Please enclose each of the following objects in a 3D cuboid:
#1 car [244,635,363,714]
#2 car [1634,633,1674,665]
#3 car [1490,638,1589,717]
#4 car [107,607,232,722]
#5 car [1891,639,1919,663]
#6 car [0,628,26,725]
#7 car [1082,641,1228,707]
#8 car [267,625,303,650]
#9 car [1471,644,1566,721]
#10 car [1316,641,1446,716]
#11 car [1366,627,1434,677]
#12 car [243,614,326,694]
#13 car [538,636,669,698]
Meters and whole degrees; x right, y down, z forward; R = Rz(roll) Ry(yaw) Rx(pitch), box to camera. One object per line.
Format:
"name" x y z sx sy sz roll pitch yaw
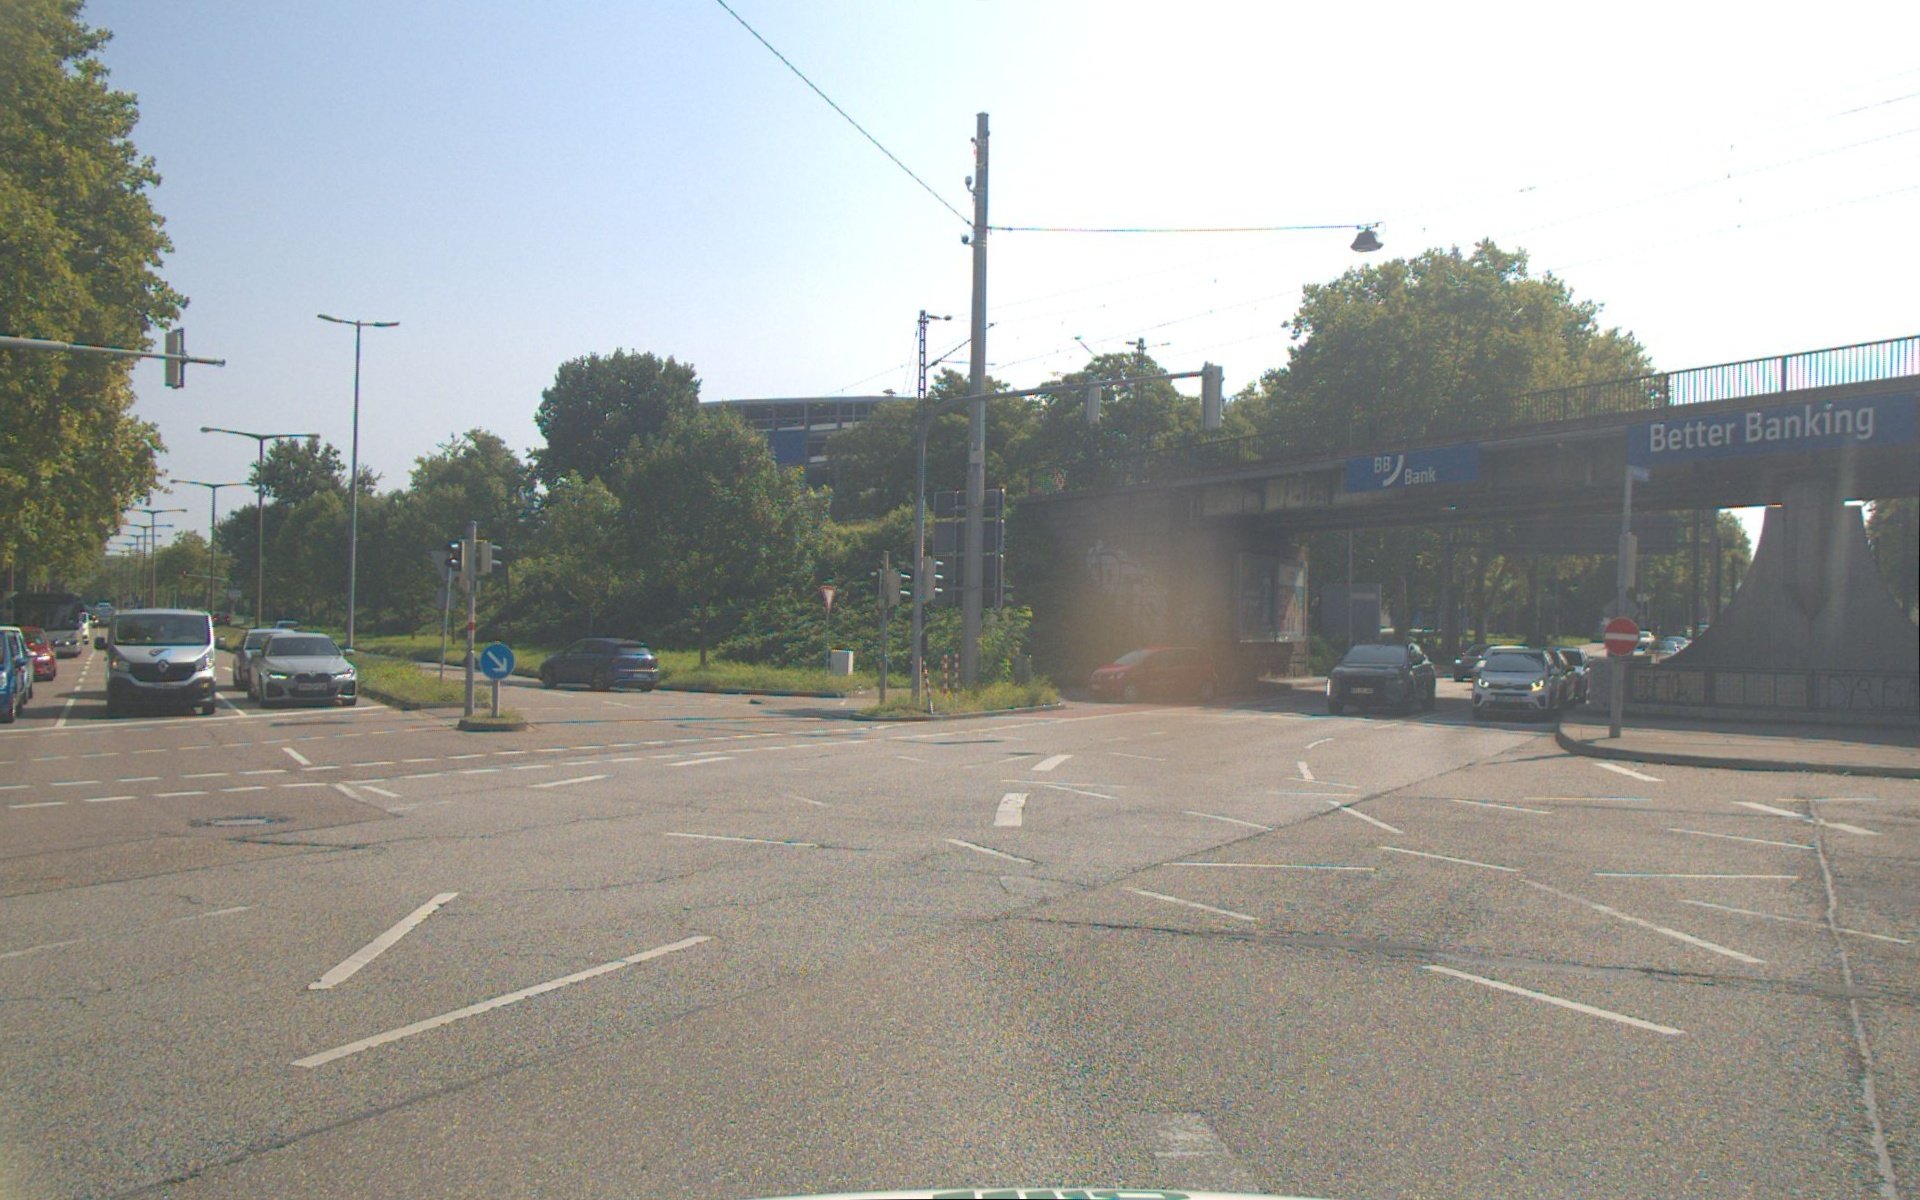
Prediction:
"car" -13.806 1.500 34.639 1.815 1.468 4.562 -1 0 -28
"car" 35.519 2.485 84.664 1.814 1.509 4.185 1 0 23
"car" 14.173 1.832 40.322 1.953 1.600 4.346 1 1 23
"car" -15.396 1.173 32.070 1.906 1.992 5.163 1 0 -29
"car" 86.868 4.661 151.910 1.954 2.048 3.998 3 0 24
"car" -17.478 1.316 29.042 1.647 1.562 3.698 -1 0 -26
"car" 5.210 1.985 44.229 3.496 1.492 1.632 4 1 -24
"car" -47.107 2.597 115.367 1.971 1.683 3.963 1 -1 -28
"car" 12.214 1.751 36.069 1.686 1.565 3.694 0 -1 23
"car" 9.861 1.781 38.542 1.865 1.645 4.466 -1 -2 29
"car" 18.156 2.129 68.154 1.954 1.881 3.997 3 0 25
"car" -16.891 1.297 41.287 1.595 1.561 4.067 -1 4 -27
"car" -10.135 1.883 46.886 1.773 1.452 3.935 3 0 -45
